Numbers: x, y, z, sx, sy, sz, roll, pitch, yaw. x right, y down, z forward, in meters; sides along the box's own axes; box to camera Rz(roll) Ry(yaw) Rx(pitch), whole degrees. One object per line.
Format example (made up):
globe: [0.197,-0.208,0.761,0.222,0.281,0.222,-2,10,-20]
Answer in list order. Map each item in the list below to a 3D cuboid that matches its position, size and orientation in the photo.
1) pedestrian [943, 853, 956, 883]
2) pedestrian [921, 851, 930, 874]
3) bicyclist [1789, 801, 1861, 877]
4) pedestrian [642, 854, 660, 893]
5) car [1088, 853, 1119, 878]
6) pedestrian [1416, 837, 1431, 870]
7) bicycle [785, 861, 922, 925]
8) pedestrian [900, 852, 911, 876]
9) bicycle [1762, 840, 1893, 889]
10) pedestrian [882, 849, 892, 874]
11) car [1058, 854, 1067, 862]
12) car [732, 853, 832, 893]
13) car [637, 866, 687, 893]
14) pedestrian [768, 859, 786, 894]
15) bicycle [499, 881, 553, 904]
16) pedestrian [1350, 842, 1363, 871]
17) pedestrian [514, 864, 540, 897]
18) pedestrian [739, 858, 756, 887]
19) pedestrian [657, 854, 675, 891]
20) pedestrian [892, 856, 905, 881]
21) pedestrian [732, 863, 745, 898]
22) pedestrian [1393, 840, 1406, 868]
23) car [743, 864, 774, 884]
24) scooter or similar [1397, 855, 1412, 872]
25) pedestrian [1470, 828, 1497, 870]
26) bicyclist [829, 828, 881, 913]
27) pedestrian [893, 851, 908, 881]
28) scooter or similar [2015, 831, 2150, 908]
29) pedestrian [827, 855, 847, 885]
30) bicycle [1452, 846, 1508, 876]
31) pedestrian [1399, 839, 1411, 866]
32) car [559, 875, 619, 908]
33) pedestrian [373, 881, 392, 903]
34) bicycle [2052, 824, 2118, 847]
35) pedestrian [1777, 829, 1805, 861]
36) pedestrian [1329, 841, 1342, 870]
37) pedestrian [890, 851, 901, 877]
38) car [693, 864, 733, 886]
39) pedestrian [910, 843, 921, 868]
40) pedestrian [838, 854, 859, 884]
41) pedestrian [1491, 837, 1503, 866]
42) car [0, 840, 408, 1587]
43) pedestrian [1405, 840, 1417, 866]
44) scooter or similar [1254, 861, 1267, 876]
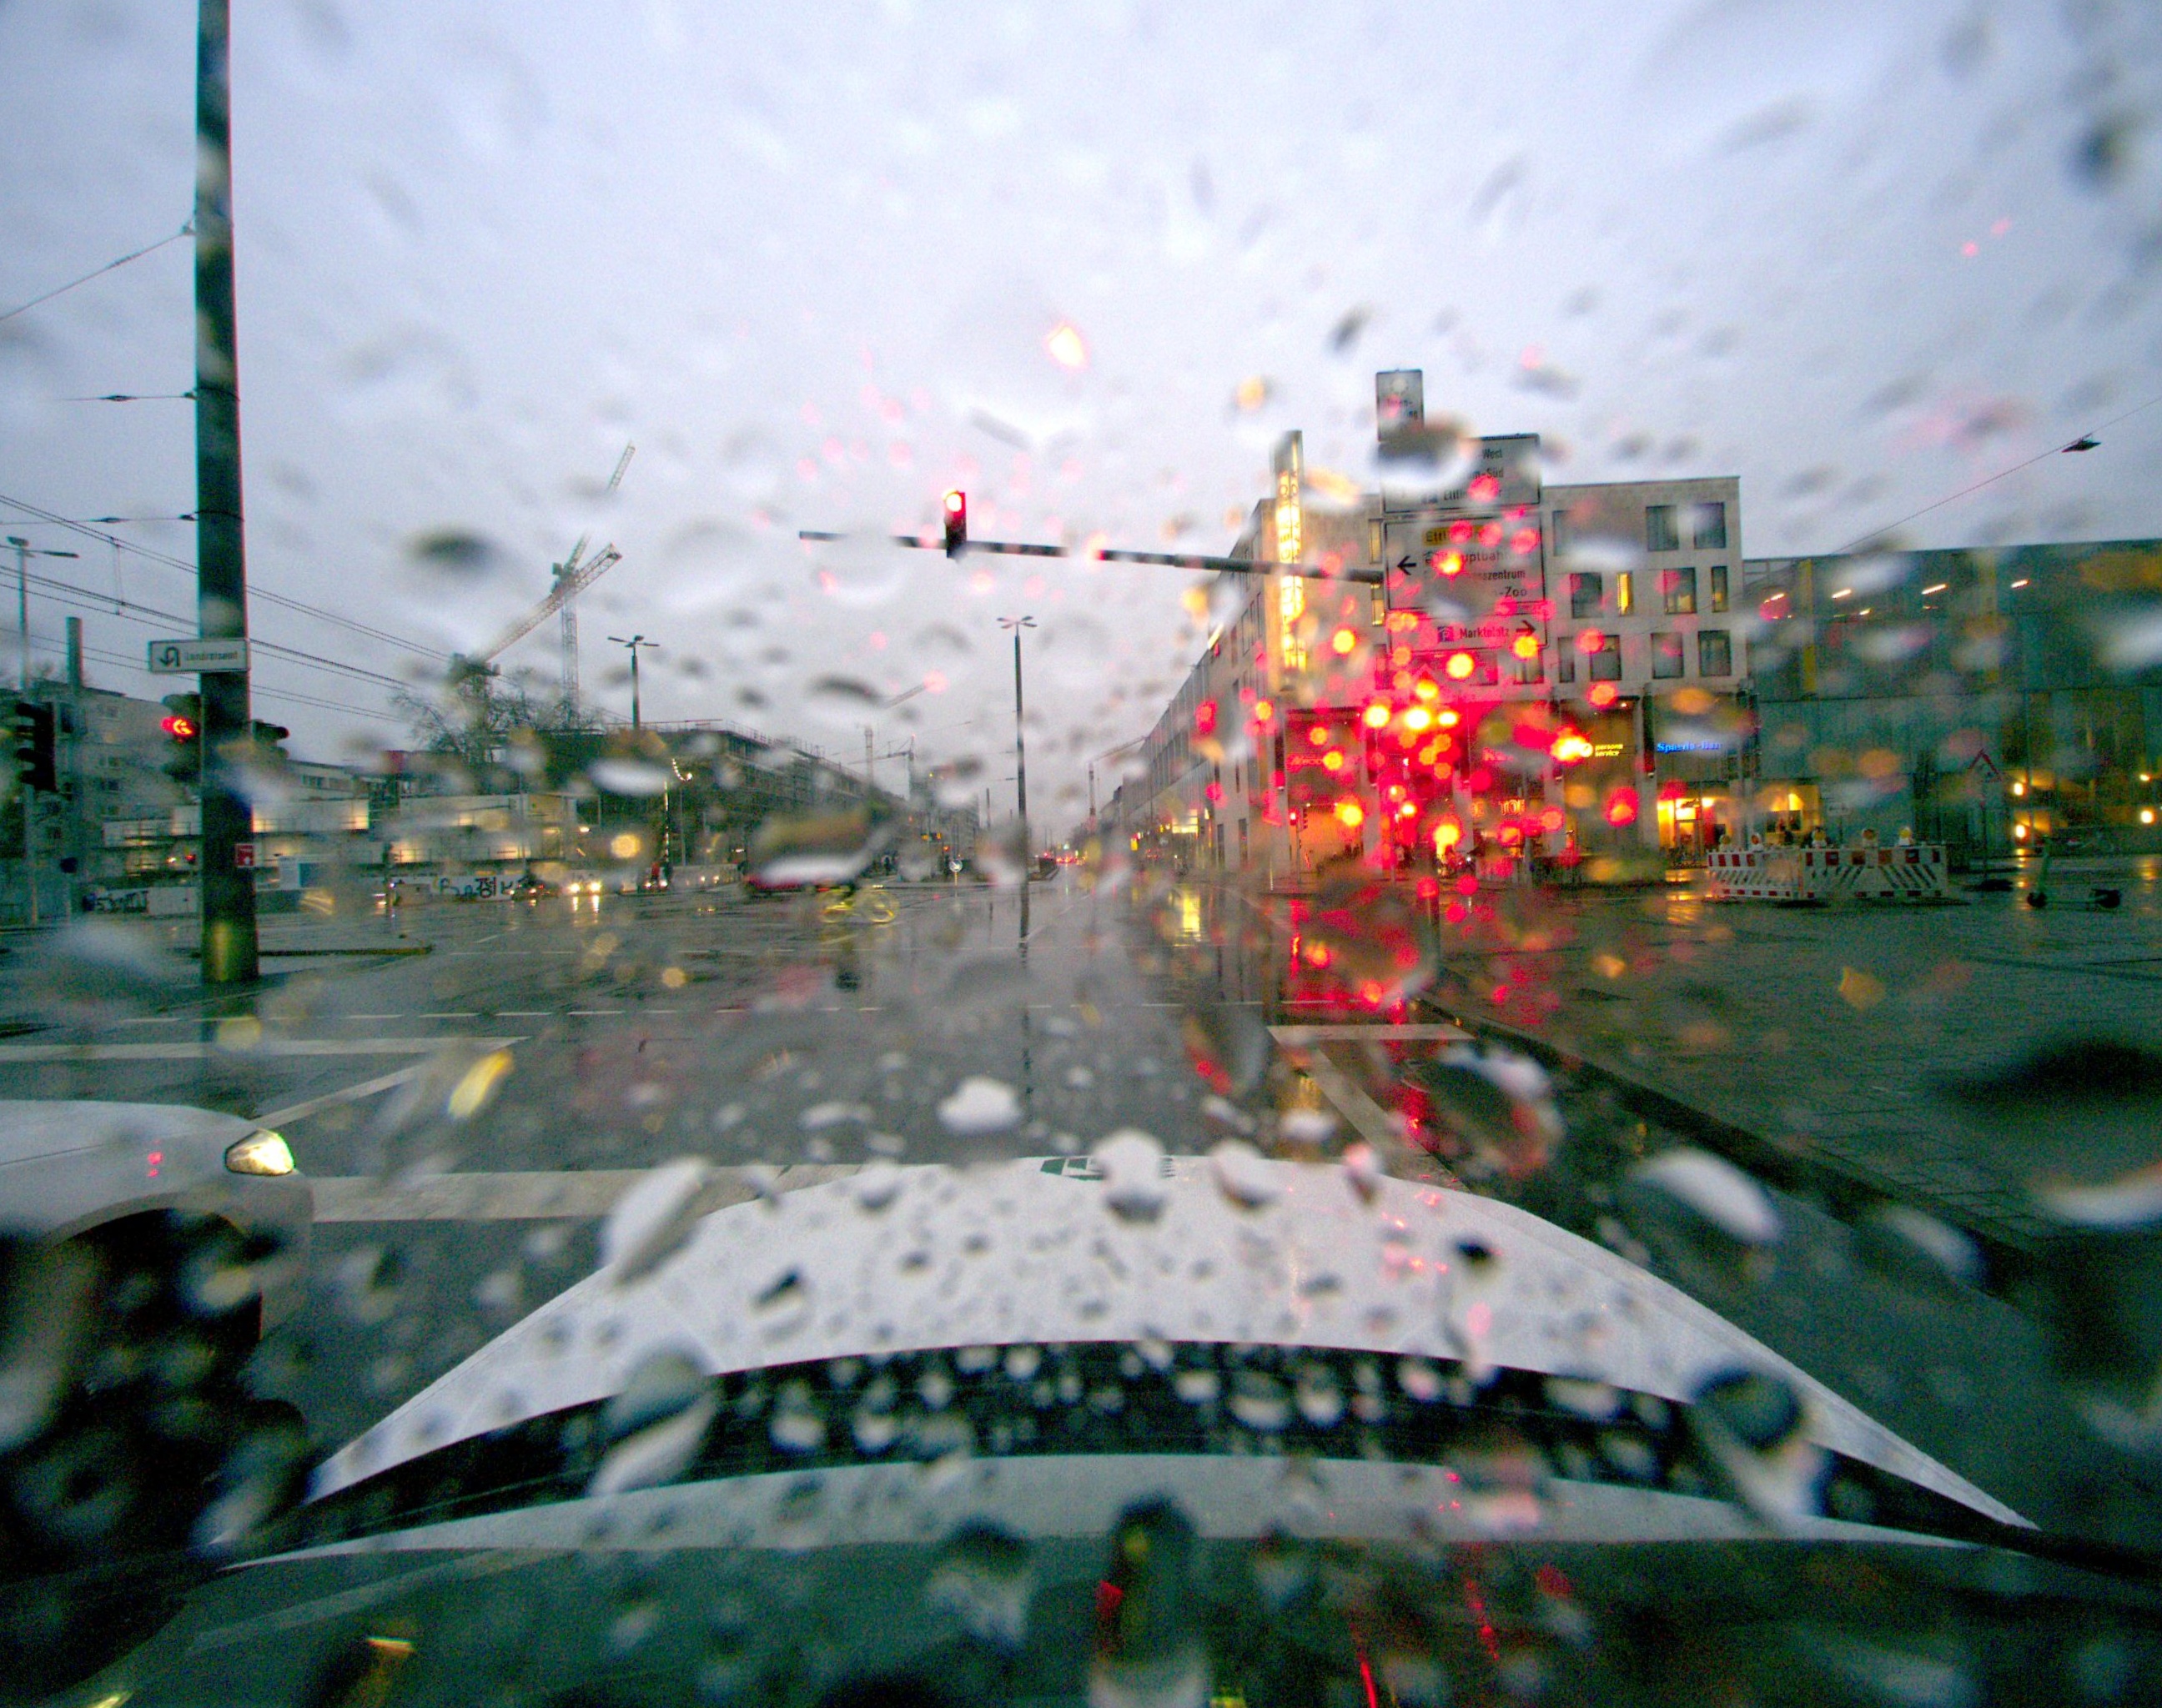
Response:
pedestrian: [-7.708,0.815,47.880,0.631,1.772,0.484,-2,-1,0]
pedestrian: [-12.329,0.672,64.522,0.660,1.746,0.619,-2,-1,-9]
bicyclist: [17.303,-0.345,18.951,1.028,1.697,0.618,-2,-1,4]
pedestrian: [-23.502,1.048,44.525,0.691,2.087,0.606,-2,-1,-39]
car: [1.468,0.772,54.628,1.967,1.530,4.000,-2,0,0]
pedestrian: [17.970,-0.024,42.682,0.530,1.685,0.552,-3,-1,39]
bicycle: [-4.961,0.833,17.933,2.829,1.362,0.719,0,-1,-8]
pedestrian: [-12.716,0.734,58.952,0.610,1.746,0.620,-2,-1,-4]
bicycle: [17.328,0.240,18.947,2.362,1.033,0.618,-2,-1,3]
pedestrian: [-13.756,0.545,57.698,0.611,1.746,0.619,-2,-1,-9]
car: [-4.970,1.166,218.235,1.986,2.014,4.001,-1,-1,2]
car: [-12.625,0.800,34.495,3.554,1.582,1.678,1,-1,3]
car: [-34.460,2.088,67.091,1.988,2.013,3.997,-2,0,-2]
pedestrian: [-17.894,1.293,47.976,0.792,2.013,0.745,-2,0,-9]
bicycle: [-26.801,1.852,39.324,2.124,0.992,0.540,-2,-5,-5]
pedestrian: [16.749,0.155,49.466,0.530,1.718,0.505,-3,-1,39]
pedestrian: [-26.788,1.286,39.374,0.813,1.570,0.535,-1,-5,-3]
pedestrian: [-19.255,1.077,46.973,0.706,1.619,0.678,-2,-1,-8]
pedestrian: [-23.027,1.043,45.205,0.781,2.013,0.606,-2,-1,-37]
pedestrian: [-11.986,0.954,53.421,0.609,1.619,0.709,-2,-1,1]
pedestrian: [-20.209,1.546,48.120,0.507,2.013,0.638,-2,0,-9]
pedestrian: [19.213,0.001,49.162,0.530,1.718,0.505,-3,-1,39]
car: [-35.460,2.161,89.594,1.989,2.013,3.995,-2,0,-4]
scooter or similar: [19.594,0.590,49.284,0.738,0.993,0.401,-2,-1,3]
pedestrian: [15.525,-0.185,31.404,0.775,1.595,0.616,-2,-1,17]
bicyclist: [-4.962,0.361,17.915,0.993,1.839,0.719,0,-1,-8]
pedestrian: [-10.691,0.724,48.325,0.700,1.760,0.652,-2,-1,0]
scooter or similar: [15.825,0.238,12.907,0.603,1.130,1.236,-2,0,2]
pedestrian: [-13.986,0.901,46.647,0.823,1.679,0.623,-2,-1,27]
bicycle: [15.383,0.261,31.431,1.831,1.093,0.620,-2,-1,16]
pedestrian: [20.921,-0.093,52.546,0.530,1.718,0.505,-3,-1,39]
car: [-33.832,2.559,56.150,1.751,2.013,3.997,-2,0,-2]
pedestrian: [-51.931,2.824,60.558,0.642,1.529,0.796,-2,-1,0]
bicycle: [48.418,-0.897,39.318,0.613,1.033,2.138,-2,0,3]
pedestrian: [36.056,-0.459,41.370,0.791,1.631,0.709,-1,-1,1]
pedestrian: [15.498,0.073,49.562,0.530,1.718,0.505,-3,-1,39]
pedestrian: [-12.808,0.710,56.192,0.660,1.746,0.733,-2,-1,-9]
car: [-34.601,1.949,76.756,1.988,2.013,3.997,-2,0,-2]
pedestrian: [-11.804,0.102,58.008,0.617,1.746,0.612,-2,-1,-4]
pedestrian: [-13.469,0.891,47.185,0.835,1.688,0.681,-2,-1,25]
pedestrian: [24.907,-0.150,48.788,0.509,1.760,0.375,-2,-1,9]
car: [-3.189,0.759,0.182,1.903,1.520,4.923,-2,0,0]
pedestrian: [21.910,-0.073,54.090,0.530,1.718,0.505,-3,-1,39]
scooter or similar: [11.265,0.913,51.156,0.738,0.916,0.401,-2,-1,3]
